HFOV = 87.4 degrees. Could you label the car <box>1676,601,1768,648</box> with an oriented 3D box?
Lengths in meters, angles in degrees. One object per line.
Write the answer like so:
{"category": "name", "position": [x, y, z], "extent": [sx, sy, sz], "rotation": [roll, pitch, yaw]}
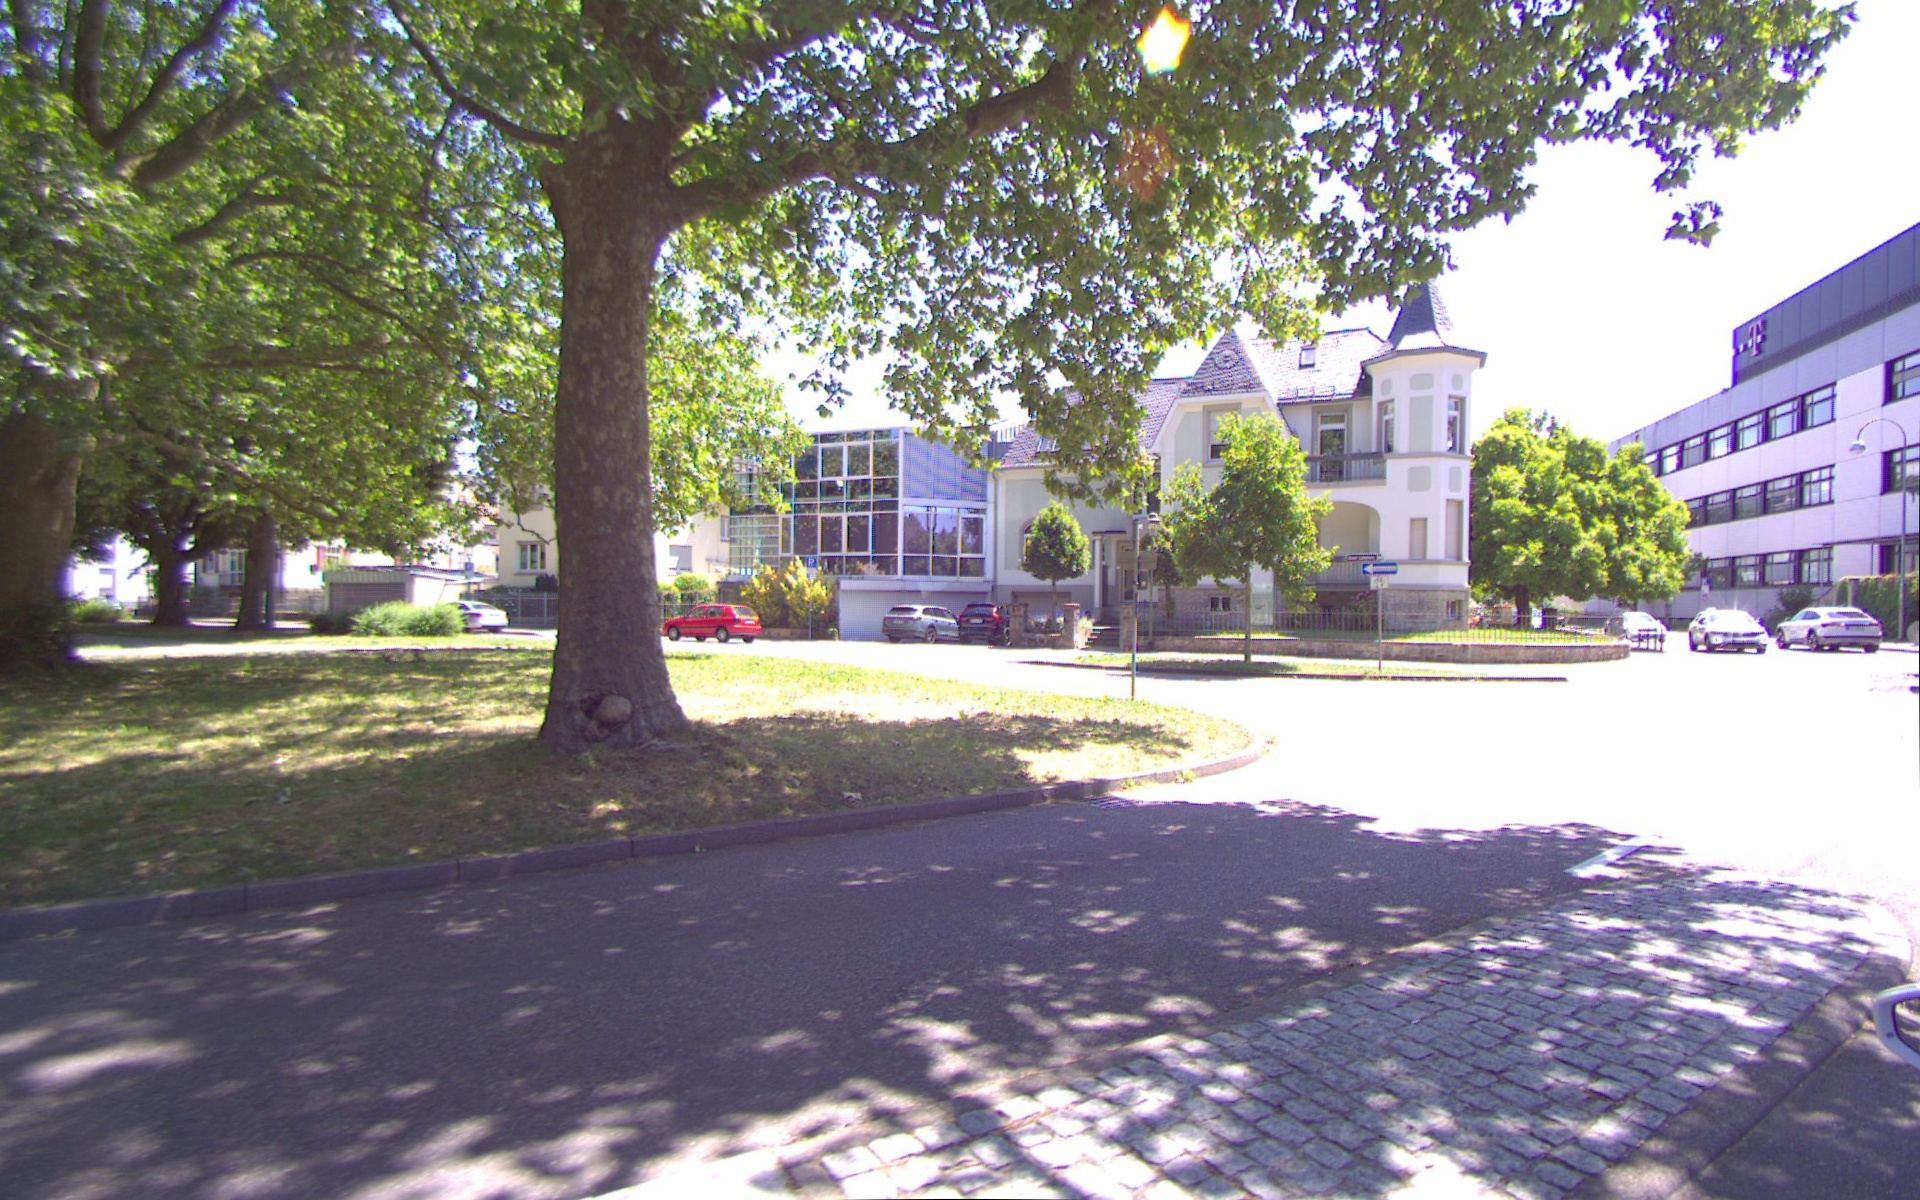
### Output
{"category": "car", "position": [29.296, 0.886, 38.768], "extent": [1.842, 1.645, 4.301], "rotation": [0, 1, 23]}

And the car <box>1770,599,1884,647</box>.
{"category": "car", "position": [33.084, 0.836, 38.490], "extent": [1.905, 1.636, 4.469], "rotation": [-3, 0, 22]}

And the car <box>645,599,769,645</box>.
{"category": "car", "position": [-9.700, 0.799, 38.521], "extent": [4.423, 1.640, 1.997], "rotation": [0, 0, 27]}

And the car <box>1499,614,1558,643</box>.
{"category": "car", "position": [33.089, 1.628, 58.599], "extent": [1.893, 1.456, 4.660], "rotation": [3, 1, 16]}

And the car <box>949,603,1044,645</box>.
{"category": "car", "position": [1.448, 0.871, 38.560], "extent": [1.965, 1.445, 3.991], "rotation": [1, 1, 30]}

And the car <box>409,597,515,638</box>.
{"category": "car", "position": [-22.712, 0.752, 45.809], "extent": [4.421, 1.802, 1.998], "rotation": [0, 0, 25]}

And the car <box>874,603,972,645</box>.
{"category": "car", "position": [-1.369, 0.883, 38.952], "extent": [1.848, 1.454, 3.990], "rotation": [1, 1, 32]}

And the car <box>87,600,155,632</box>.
{"category": "car", "position": [-49.880, 0.935, 59.682], "extent": [4.430, 1.802, 1.994], "rotation": [0, 0, 34]}

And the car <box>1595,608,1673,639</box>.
{"category": "car", "position": [33.807, 1.151, 50.514], "extent": [1.728, 1.454, 4.307], "rotation": [-1, -1, 11]}
